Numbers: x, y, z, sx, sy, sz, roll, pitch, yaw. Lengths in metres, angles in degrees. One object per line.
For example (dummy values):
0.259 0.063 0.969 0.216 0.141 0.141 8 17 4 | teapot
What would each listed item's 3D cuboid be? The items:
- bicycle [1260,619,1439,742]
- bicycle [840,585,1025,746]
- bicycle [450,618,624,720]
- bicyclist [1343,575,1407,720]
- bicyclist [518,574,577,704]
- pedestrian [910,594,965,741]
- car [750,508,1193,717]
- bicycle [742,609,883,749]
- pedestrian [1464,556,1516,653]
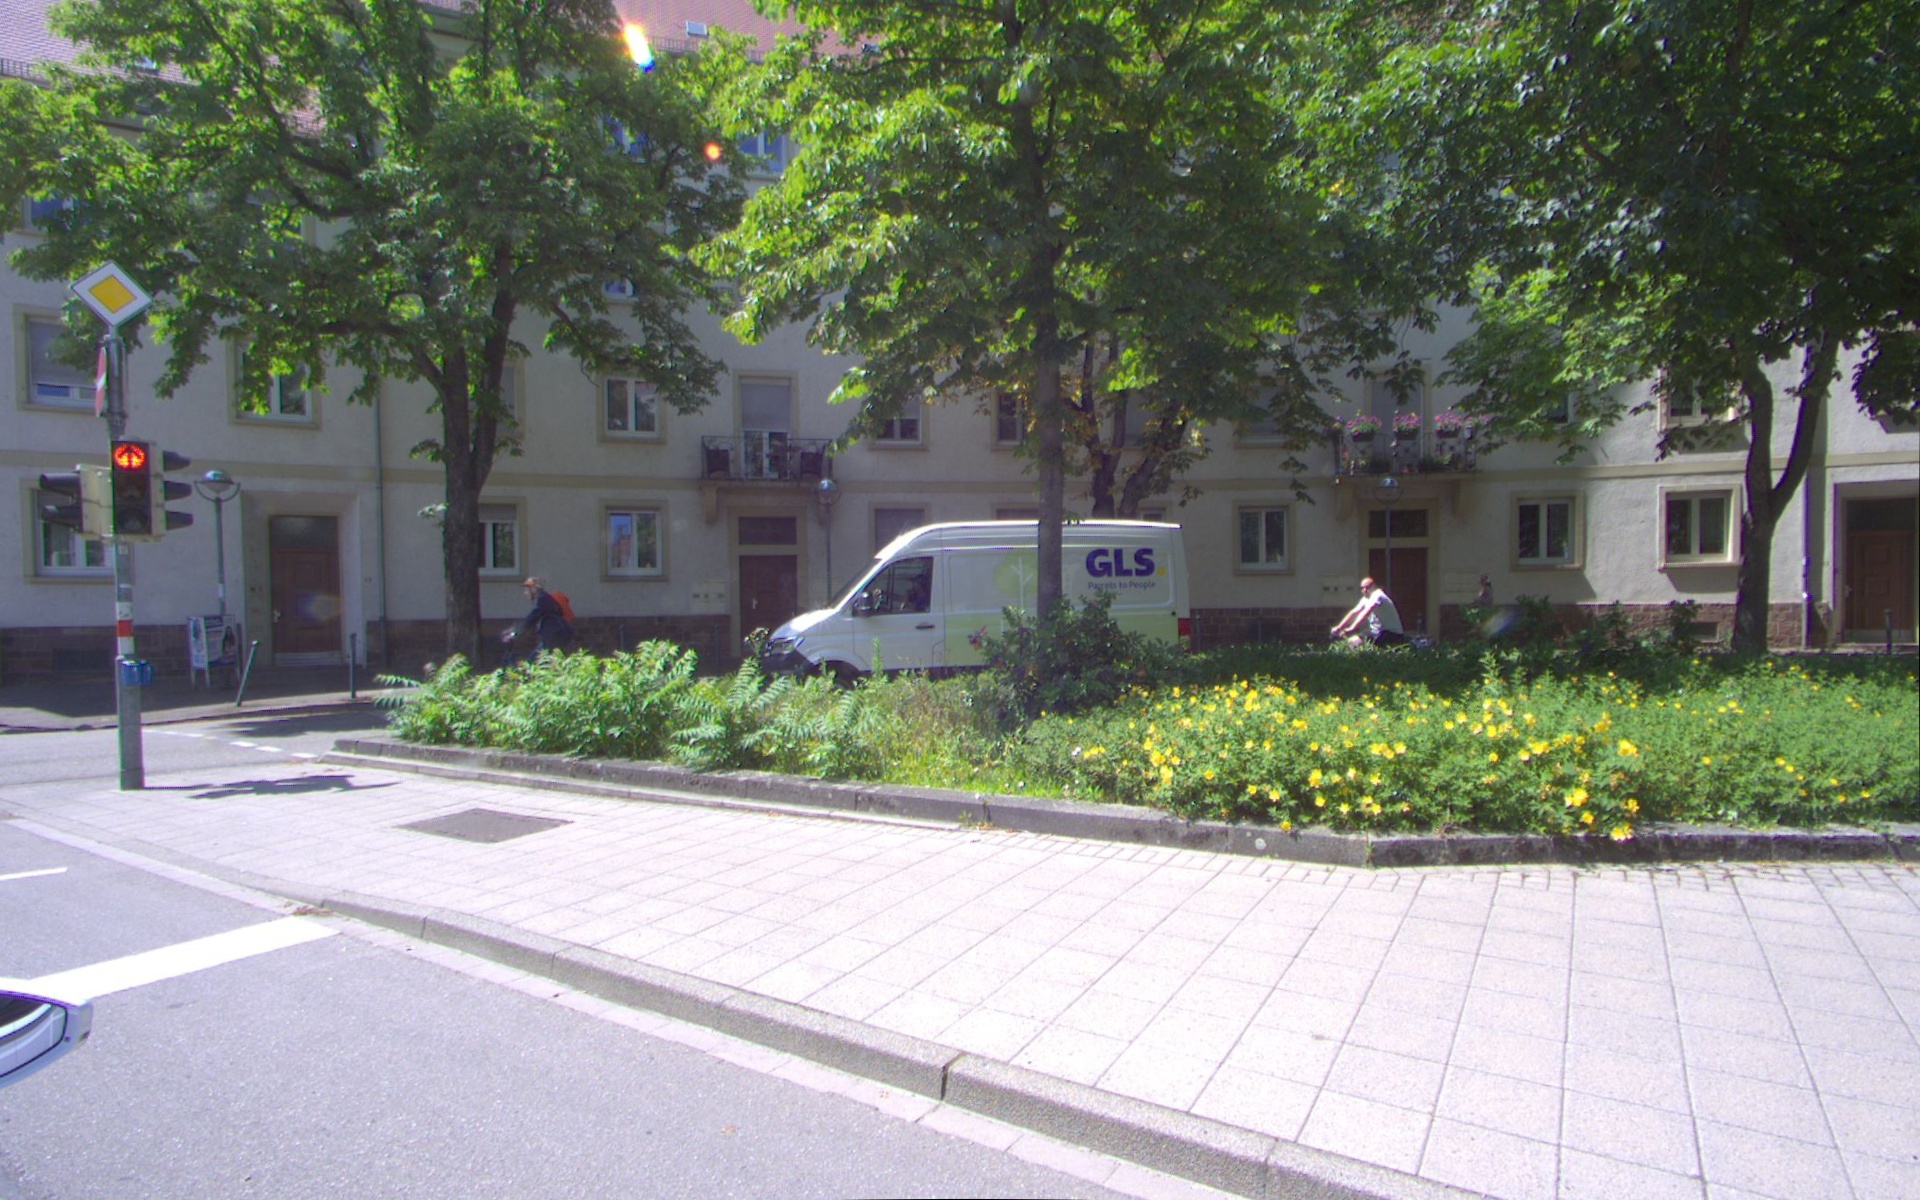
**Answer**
4.994 1.012 12.878 2.127 1.505 0.593 0 0 -8 | bicycle
-0.288 0.580 9.191 1.809 1.377 0.351 -1 0 33 | bicycle
-5.533 0.878 13.182 2.054 1.253 0.578 0 0 -25 | bicycle
5.362 0.600 12.950 0.524 1.823 0.603 -1 0 -7 | bicyclist
-5.443 0.507 13.213 0.684 1.667 0.578 0 0 -24 | bicyclist
-0.205 0.605 9.144 0.345 1.301 0.365 -1 0 32 | pedestrian
0.116 0.131 13.904 5.738 2.624 1.999 -1 1 -7 | car
-1.288 0.674 8.652 1.269 1.141 0.332 -2 -1 32 | bicycle
11.430 0.111 21.617 0.758 2.040 0.807 -1 0 8 | pedestrian
